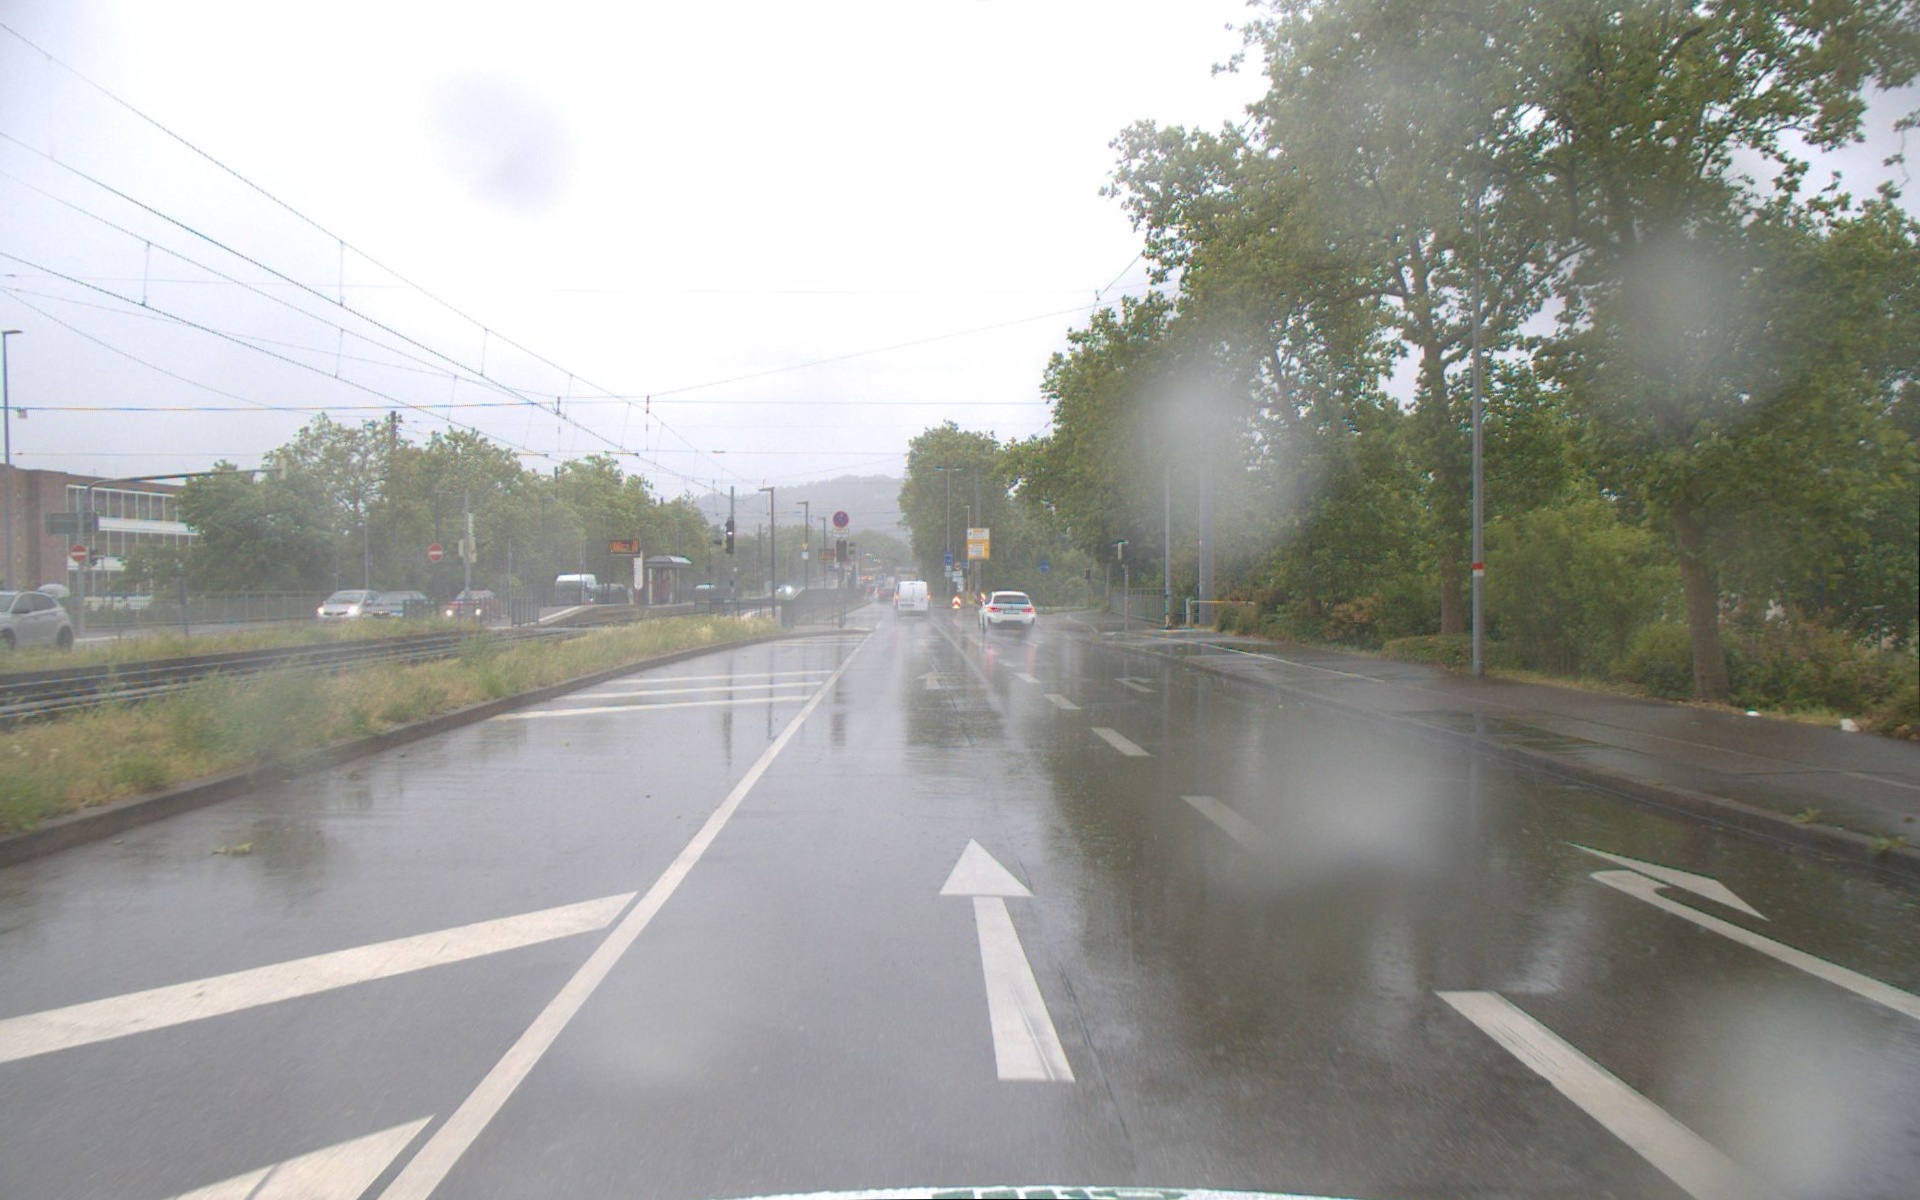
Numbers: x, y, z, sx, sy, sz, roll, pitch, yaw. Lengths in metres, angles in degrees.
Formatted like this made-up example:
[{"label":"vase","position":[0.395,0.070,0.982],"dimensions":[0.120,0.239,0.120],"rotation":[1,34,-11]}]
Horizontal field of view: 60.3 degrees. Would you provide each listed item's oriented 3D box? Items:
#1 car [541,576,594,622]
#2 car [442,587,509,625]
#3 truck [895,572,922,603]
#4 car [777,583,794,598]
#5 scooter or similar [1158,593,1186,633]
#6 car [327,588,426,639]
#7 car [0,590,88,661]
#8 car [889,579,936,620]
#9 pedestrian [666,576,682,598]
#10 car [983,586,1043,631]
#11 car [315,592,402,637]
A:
[{"label":"car","position":[-24.547,-0.105,103.606],"dimensions":[2.077,2.760,5.736],"rotation":[1,0,-2]},{"label":"car","position":[-23.526,0.269,80.477],"dimensions":[1.953,1.736,4.623],"rotation":[1,0,-2]},{"label":"truck","position":[-6.647,-1.555,212.351],"dimensions":[2.722,3.769,9.840],"rotation":[1,0,-6]},{"label":"car","position":[-24.937,-1.339,236.266],"dimensions":[1.953,2.049,3.999],"rotation":[1,0,-1]},{"label":"scooter or similar","position":[7.207,0.442,56.256],"dimensions":[0.743,1.315,1.647],"rotation":[1,0,1]},{"label":"car","position":[-20.629,0.443,58.638],"dimensions":[1.953,1.623,4.380],"rotation":[-3,1,-1]},{"label":"car","position":[-21.962,0.548,37.774],"dimensions":[1.953,1.512,4.297],"rotation":[1,0,-2]},{"label":"car","position":[-2.265,-0.048,78.135],"dimensions":[1.955,1.881,3.995],"rotation":[1,0,-6]},{"label":"pedestrian","position":[-18.070,-0.838,104.511],"dimensions":[0.814,1.339,0.858],"rotation":[2,0,-2]},{"label":"car","position":[1.783,0.255,56.601],"dimensions":[1.850,1.456,3.999],"rotation":[1,0,-1]},{"label":"car","position":[-23.164,0.523,63.833],"dimensions":[1.953,1.624,4.093],"rotation":[-1,1,-1]}]
